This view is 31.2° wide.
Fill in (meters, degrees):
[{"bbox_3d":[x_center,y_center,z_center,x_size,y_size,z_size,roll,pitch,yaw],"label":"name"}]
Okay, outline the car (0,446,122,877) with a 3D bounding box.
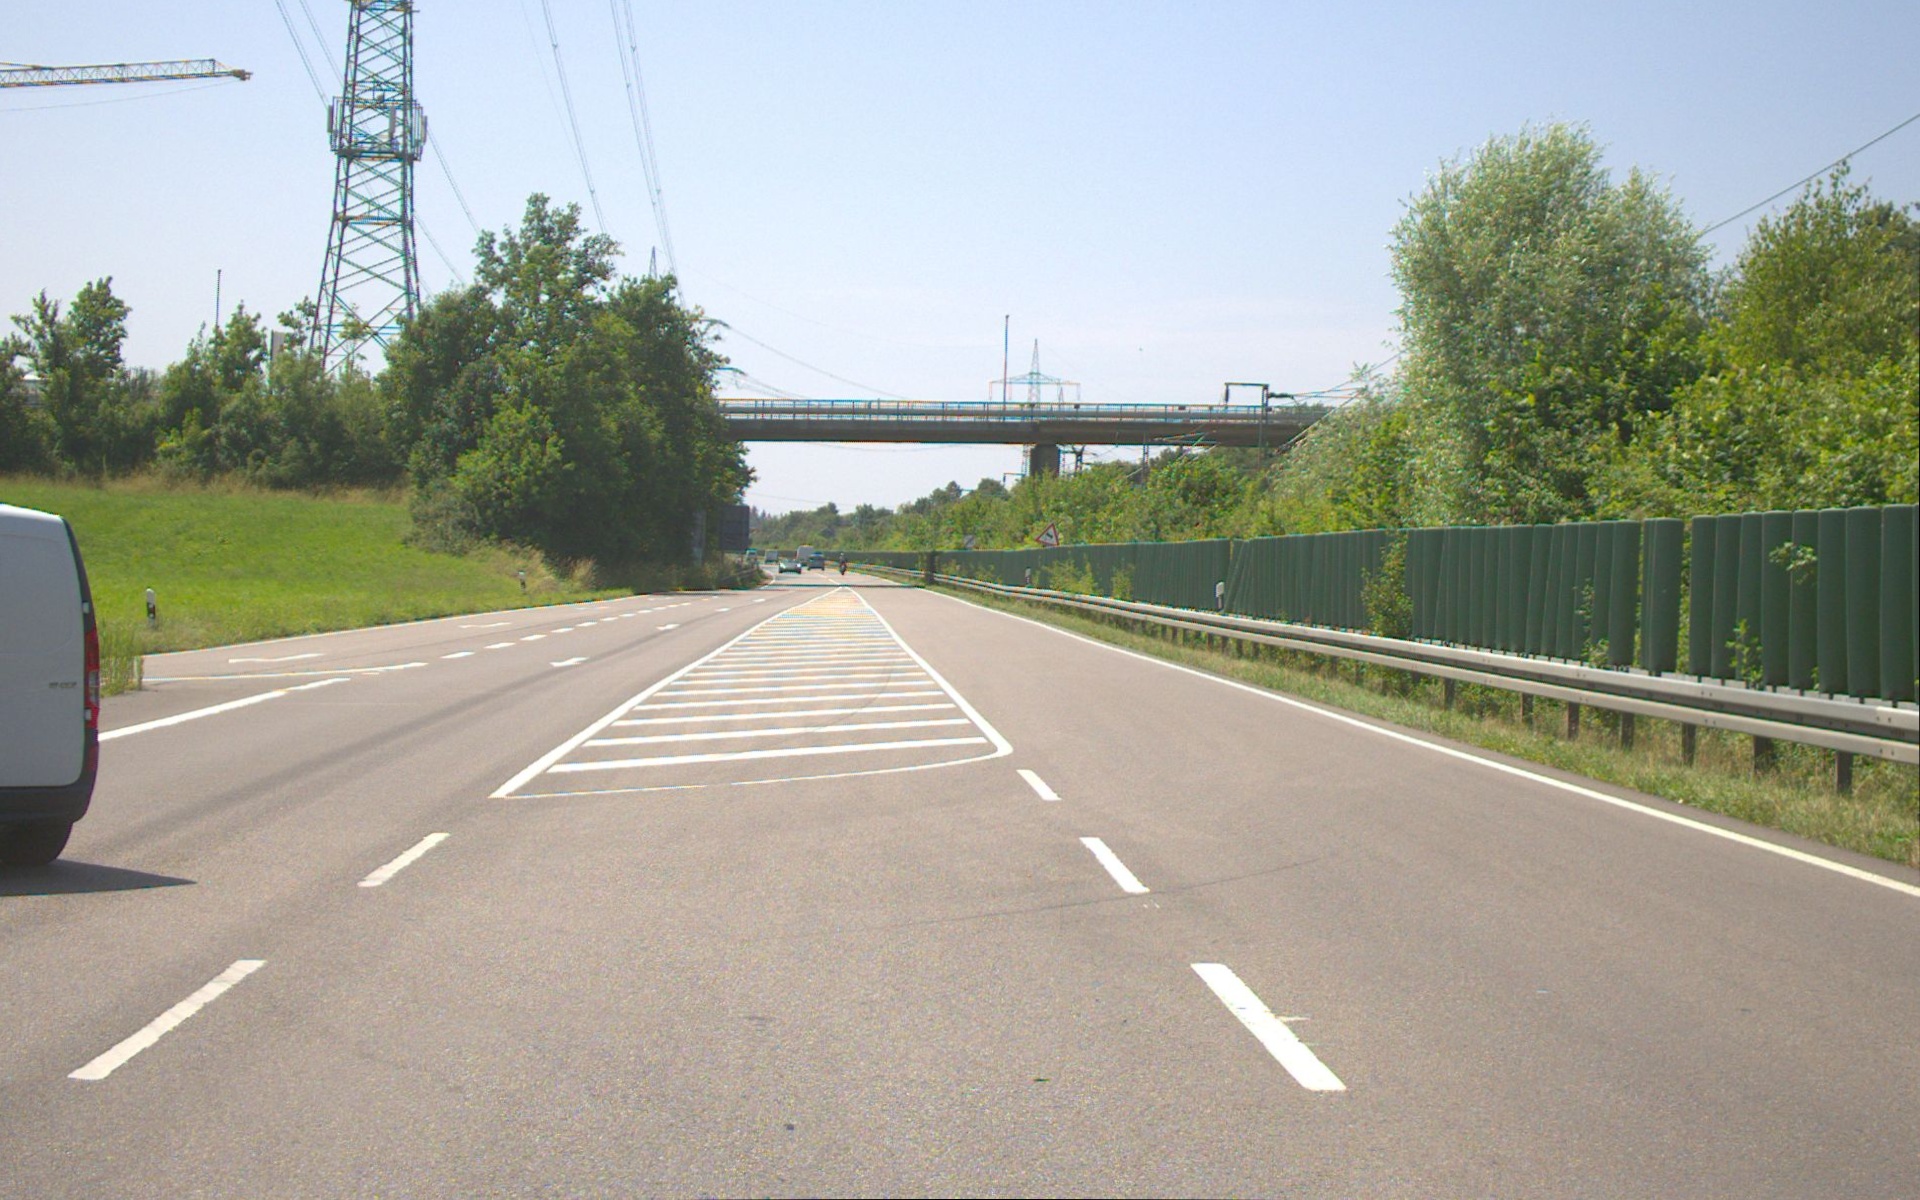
[{"bbox_3d":[-5.957,0.246,16.918,1.828,1.964,3.998,0,1,-43],"label":"car"}]
